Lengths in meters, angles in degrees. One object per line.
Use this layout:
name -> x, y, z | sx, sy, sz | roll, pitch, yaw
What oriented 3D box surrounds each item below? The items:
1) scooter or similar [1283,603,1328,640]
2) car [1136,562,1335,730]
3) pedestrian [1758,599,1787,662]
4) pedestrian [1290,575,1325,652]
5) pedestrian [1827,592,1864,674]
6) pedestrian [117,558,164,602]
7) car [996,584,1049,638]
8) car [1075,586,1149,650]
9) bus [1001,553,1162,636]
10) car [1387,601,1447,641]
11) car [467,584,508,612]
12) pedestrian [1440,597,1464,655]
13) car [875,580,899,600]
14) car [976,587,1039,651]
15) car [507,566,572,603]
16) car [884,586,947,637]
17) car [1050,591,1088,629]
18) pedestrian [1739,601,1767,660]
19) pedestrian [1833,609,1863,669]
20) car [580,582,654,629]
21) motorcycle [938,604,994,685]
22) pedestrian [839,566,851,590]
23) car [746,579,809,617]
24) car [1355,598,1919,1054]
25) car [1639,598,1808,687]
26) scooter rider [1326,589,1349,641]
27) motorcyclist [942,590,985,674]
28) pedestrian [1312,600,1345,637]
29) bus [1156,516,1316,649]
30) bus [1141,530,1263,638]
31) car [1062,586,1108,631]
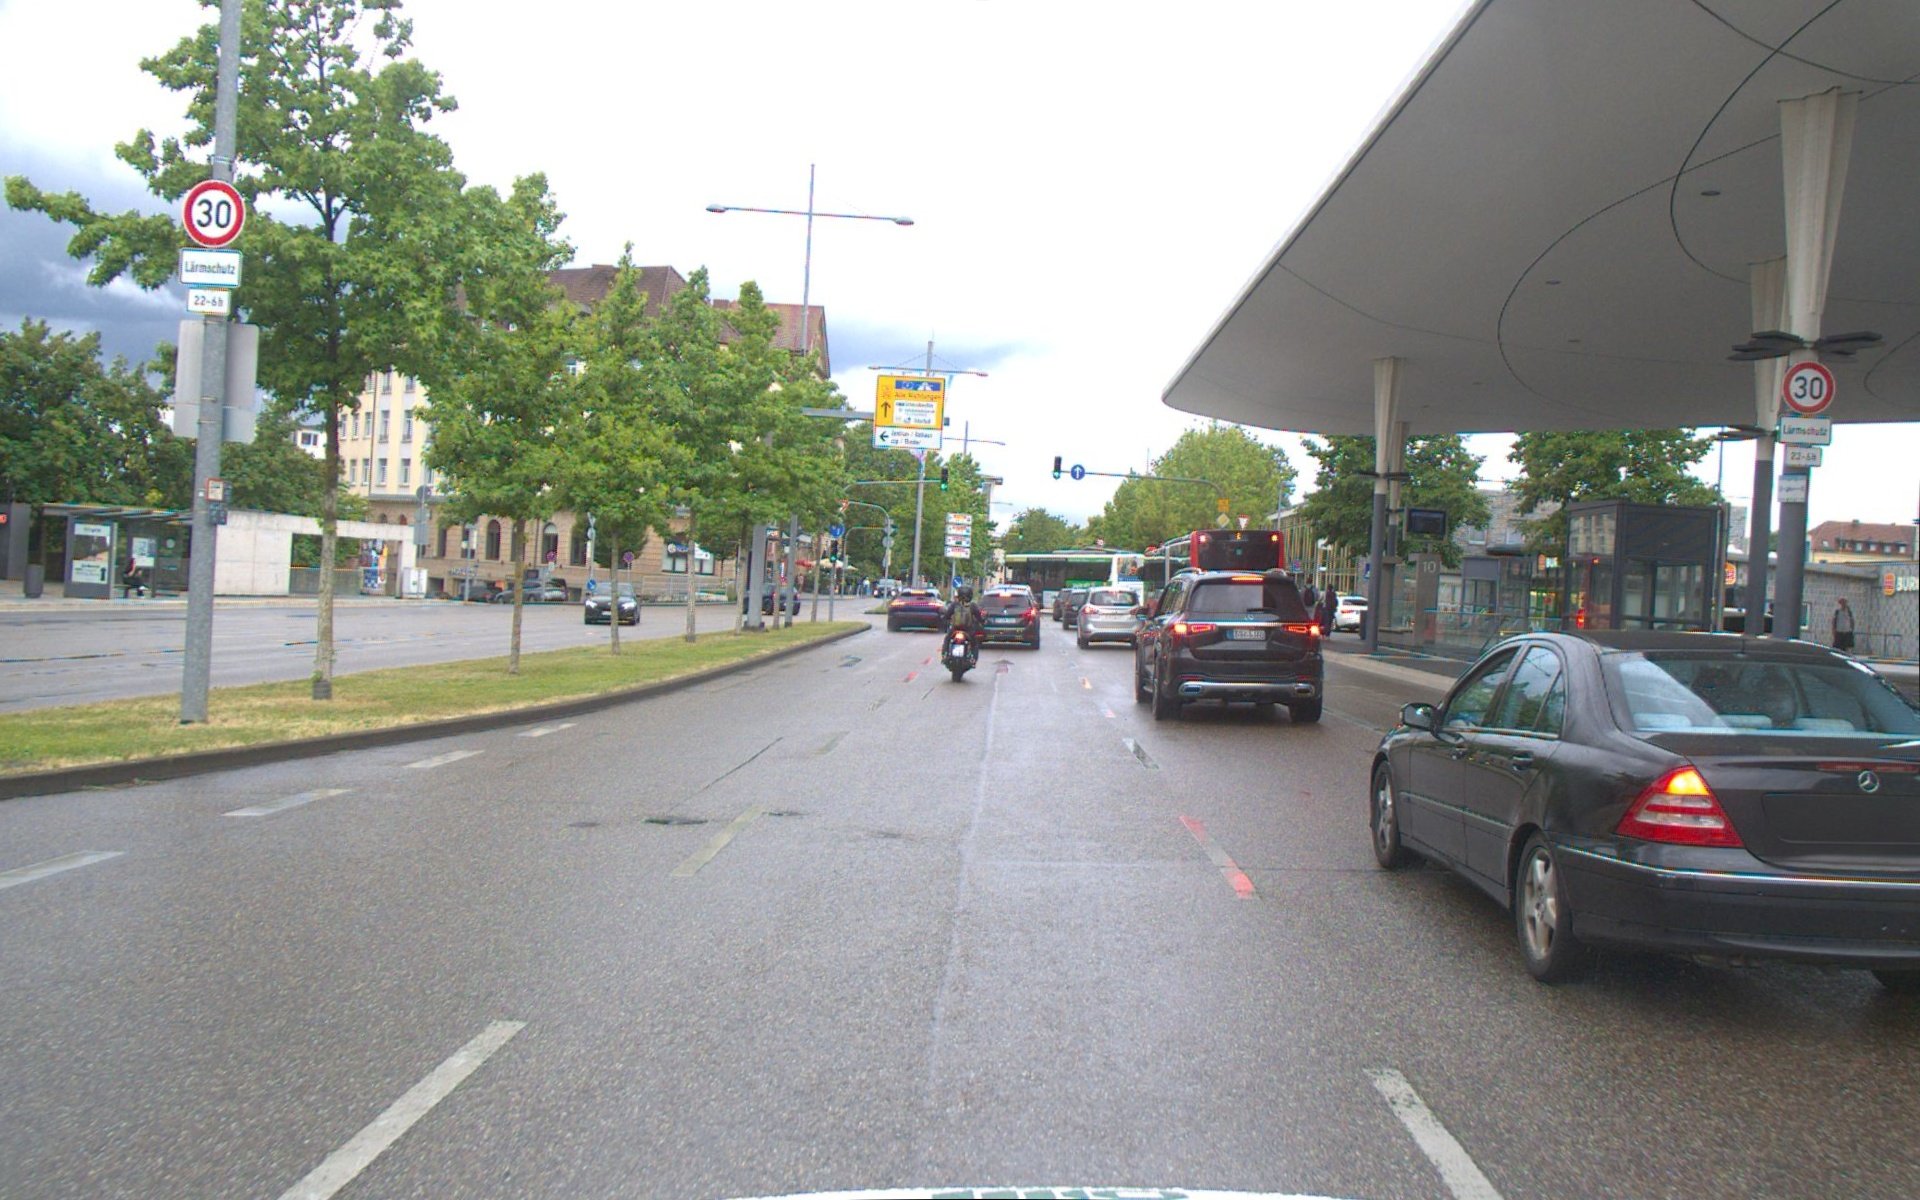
scooter or similar -> 10.328, 0.643, 49.411 | 1.217, 1.030, 0.764 | 2, 0, 16
car -> 3.410, 0.505, 21.386 | 1.917, 1.908, 4.875 | 0, 0, 2
pedestrian -> 23.396, 0.877, 47.613 | 0.570, 1.745, 0.559 | 3, -4, 37
pedestrian -> 9.627, 0.358, 45.835 | 0.761, 2.048, 0.782 | 5, 1, 14
pedestrian -> 23.020, 0.859, 43.001 | 0.710, 2.048, 0.669 | 4, -4, 28
pedestrian -> -26.043, -0.643, 52.581 | 0.956, 1.289, 0.849 | 6, 1, 23
car -> 1.906, 0.311, 50.474 | 1.543, 1.594, 3.872 | 0, 0, 2
car -> 3.969, 0.431, 43.638 | 1.705, 1.594, 3.872 | 0, 0, 2
bus -> 6.254, -0.362, 87.930 | 2.804, 4.057, 11.761 | 2, 0, -27
car -> 19.847, 0.892, 71.922 | 1.510, 1.587, 3.407 | 3, 0, -2
car -> -29.124, -0.119, 101.909 | 1.641, 1.632, 3.219 | -1, 2, -30
pedestrian -> 14.733, 0.789, 49.548 | 0.563, 1.707, 0.582 | 1, -1, 28
car -> -5.896, -0.853, 134.018 | 1.743, 1.594, 3.431 | 0, 0, 2
car -> 1.242, 0.443, 42.109 | 1.542, 1.531, 3.872 | 0, 0, 3
car -> -23.491, -0.872, 92.306 | 1.855, 1.713, 3.941 | 8, -3, -41
car -> -1.409, 0.349, 54.104 | 1.778, 1.598, 4.405 | 0, 0, 2
car -> 4.783, 0.408, 73.005 | 1.543, 1.594, 3.797 | 0, 0, 2
pedestrian -> 22.701, 0.875, 47.324 | 0.569, 1.605, 0.560 | 4, -4, 31
pedestrian -> 25.006, 1.101, 46.570 | 0.570, 1.605, 0.559 | 3, -4, 37
car -> -12.101, 0.182, 58.663 | 1.646, 1.554, 4.639 | 2, 0, 0
motorcycle -> 0.116, 0.719, 27.733 | 0.776, 1.284, 1.856 | 1, 0, 5
pedestrian -> -9.717, -1.864, 140.089 | 0.714, 2.000, 0.820 | 1, 0, -24
car -> -8.628, -0.123, 78.007 | 1.814, 1.656, 3.675 | 2, 0, -26
car -> 3.178, 0.766, 7.722 | 1.663, 1.487, 4.304 | 1, 0, 1
car -> 16.331, 0.850, 35.613 | 1.677, 1.691, 4.240 | 3, 0, 1
scooter rider -> 11.176, 0.447, 49.001 | 0.579, 1.516, 0.765 | 2, -1, 15
motorcyclist -> 0.060, 0.529, 27.724 | 0.628, 1.371, 0.689 | 1, 0, 5
pedestrian -> 10.916, 0.555, 48.995 | 0.894, 1.002, 0.634 | 3, -4, 16
bus -> 7.741, -0.485, 47.918 | 3.218, 3.349, 10.881 | 2, 0, 3
bus -> 8.165, -0.535, 57.000 | 3.222, 3.346, 8.852 | 2, 0, 3
car -> 4.575, 0.276, 60.921 | 1.543, 1.594, 3.872 | 0, 0, 2
